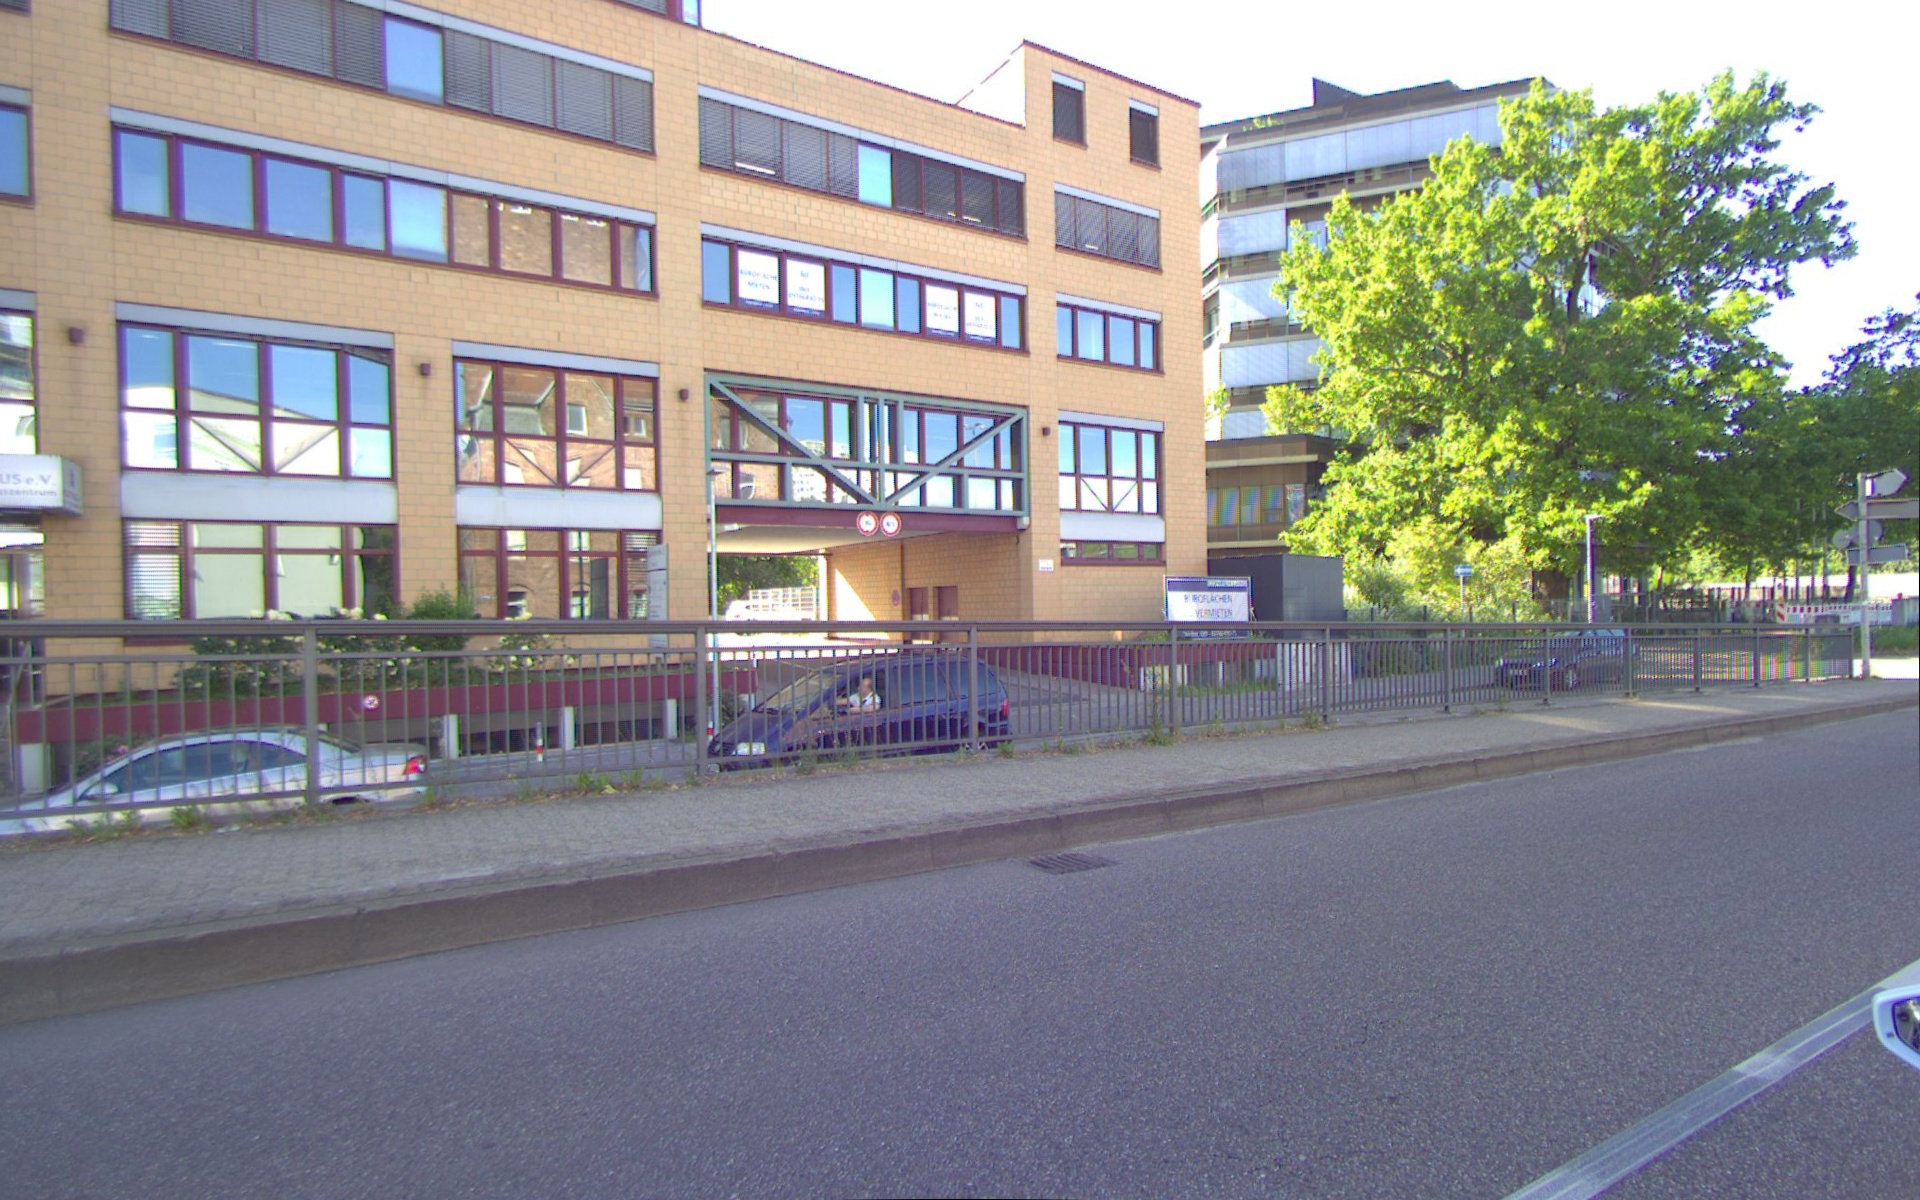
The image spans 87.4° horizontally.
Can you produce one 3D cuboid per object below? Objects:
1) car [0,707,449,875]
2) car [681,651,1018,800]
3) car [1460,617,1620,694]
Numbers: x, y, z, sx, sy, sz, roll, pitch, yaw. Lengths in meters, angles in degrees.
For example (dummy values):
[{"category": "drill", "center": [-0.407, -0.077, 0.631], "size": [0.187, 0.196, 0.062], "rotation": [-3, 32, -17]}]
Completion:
[{"category": "car", "center": [-7.710, 1.864, 10.378], "size": [4.210, 1.181, 1.712], "rotation": [0, -2, -32]}, {"category": "car", "center": [-1.470, 1.639, 14.334], "size": [4.541, 1.669, 1.710], "rotation": [0, -2, -36]}, {"category": "car", "center": [14.749, 1.346, 25.515], "size": [3.953, 1.715, 1.842], "rotation": [-1, 0, -31]}]
